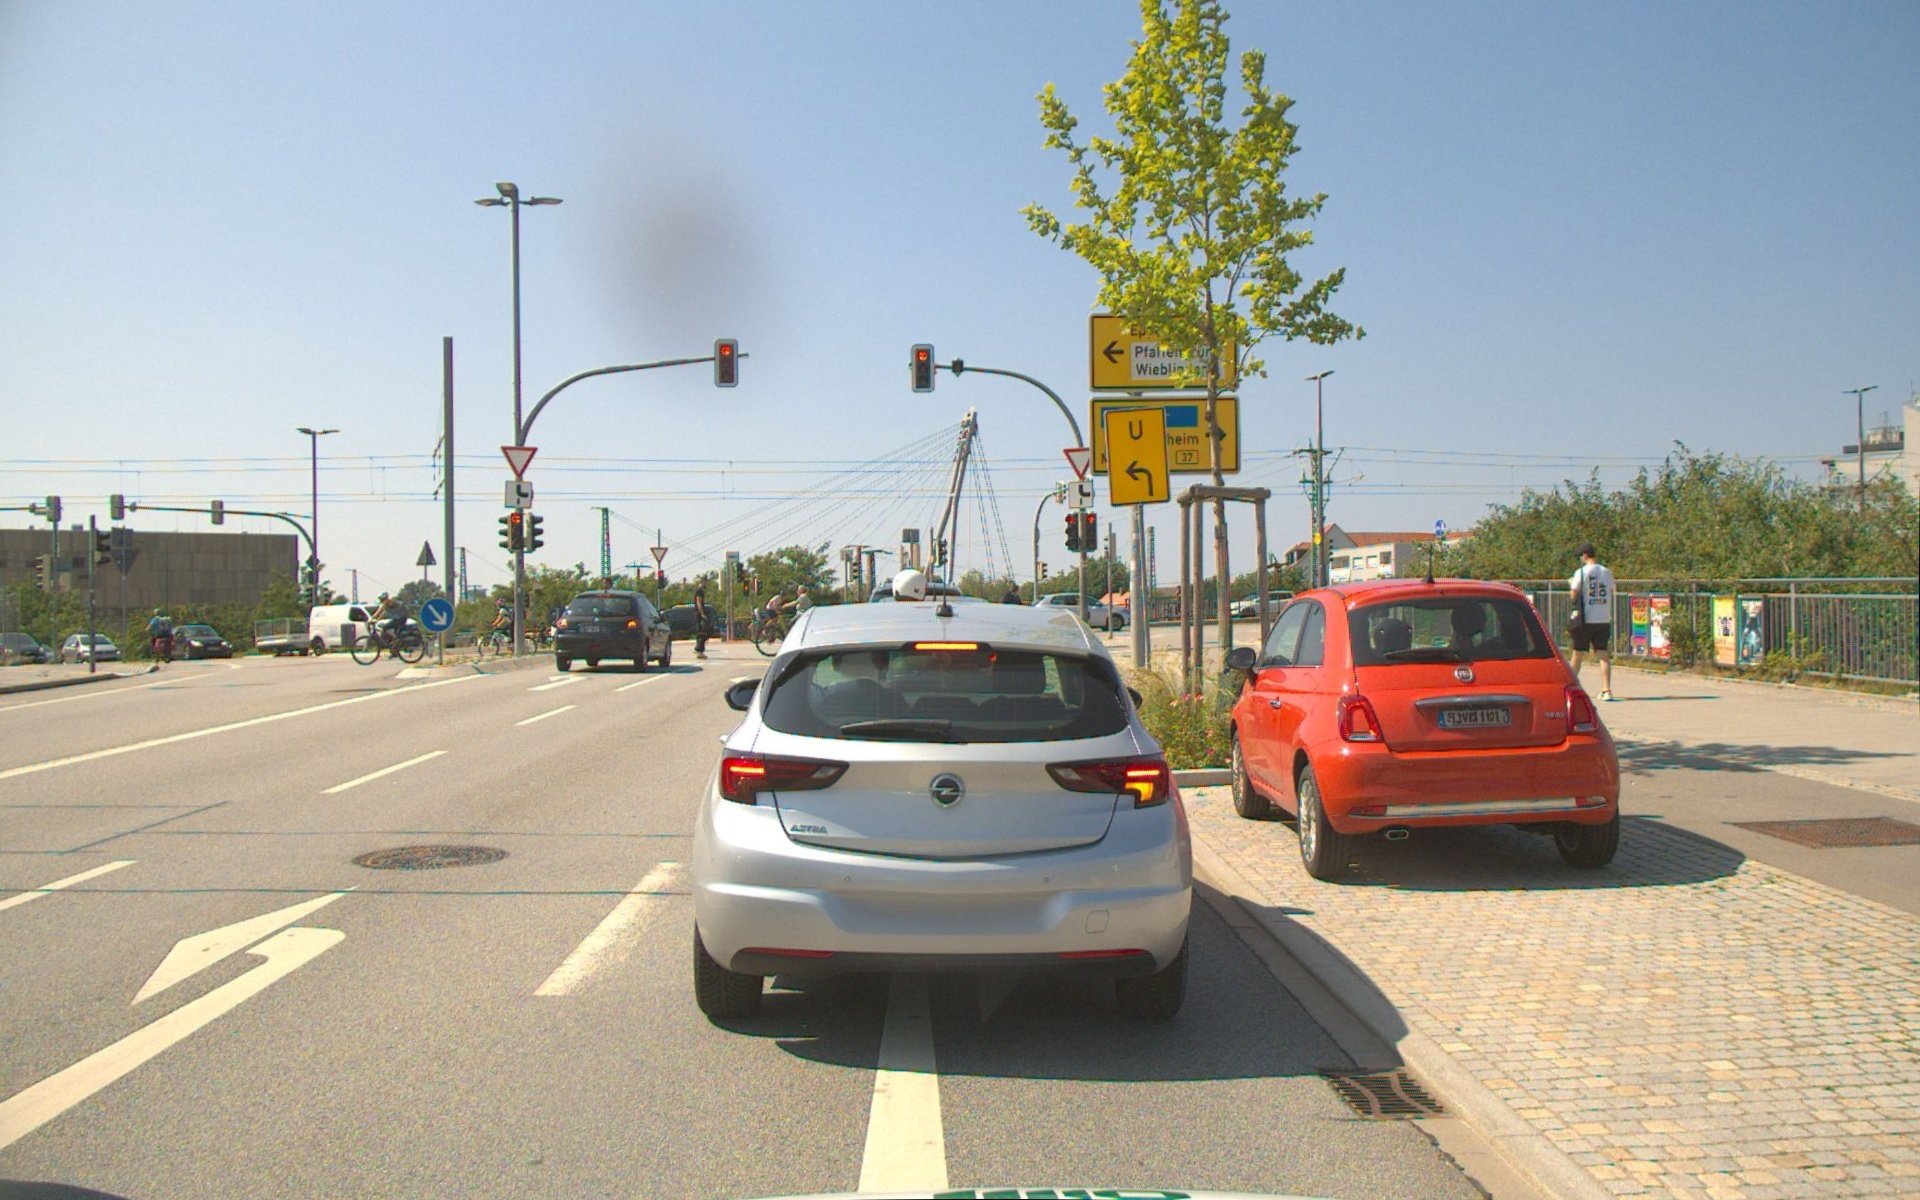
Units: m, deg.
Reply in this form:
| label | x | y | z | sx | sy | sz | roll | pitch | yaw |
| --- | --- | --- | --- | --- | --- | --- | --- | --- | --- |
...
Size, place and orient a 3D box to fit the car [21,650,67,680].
| label | x | y | z | sx | sy | sz | roll | pitch | yaw |
| --- | --- | --- | --- | --- | --- | --- | --- | --- | --- |
| car | -48.676 | 3.427 | 87.891 | 1.571 | 1.464 | 3.108 | 2 | -1 | -40 |

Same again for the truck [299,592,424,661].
| label | x | y | z | sx | sy | sz | roll | pitch | yaw |
| --- | --- | --- | --- | --- | --- | --- | --- | --- | --- |
| truck | -23.100 | 0.993 | 63.775 | 4.605 | 2.585 | 1.997 | 0 | -1 | 29 |

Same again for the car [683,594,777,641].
| label | x | y | z | sx | sy | sz | roll | pitch | yaw |
| --- | --- | --- | --- | --- | --- | --- | --- | --- | --- |
| car | -10.633 | 0.824 | 76.637 | 3.902 | 2.049 | 2.001 | 1 | -1 | 8 |

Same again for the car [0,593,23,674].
| label | x | y | z | sx | sy | sz | roll | pitch | yaw |
| --- | --- | --- | --- | --- | --- | --- | --- | --- | --- |
| car | -25.641 | 0.849 | 43.452 | 1.653 | 2.049 | 3.958 | 2 | -1 | -31 |

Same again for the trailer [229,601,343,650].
| label | x | y | z | sx | sy | sz | roll | pitch | yaw |
| --- | --- | --- | --- | --- | --- | --- | --- | --- | --- |
| trailer | -26.851 | 1.009 | 65.837 | 4.191 | 1.807 | 1.997 | 1 | -1 | 29 |

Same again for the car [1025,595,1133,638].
| label | x | y | z | sx | sy | sz | roll | pitch | yaw |
| --- | --- | --- | --- | --- | --- | --- | --- | --- | --- |
| car | 4.529 | 0.639 | 63.164 | 3.898 | 1.578 | 1.673 | -1 | -1 | -7 |

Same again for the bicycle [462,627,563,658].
| label | x | y | z | sx | sy | sz | roll | pitch | yaw |
| --- | --- | --- | --- | --- | --- | --- | --- | --- | --- |
| bicycle | -10.439 | 0.990 | 38.634 | 2.200 | 0.704 | 0.516 | 0 | -1 | -1 |

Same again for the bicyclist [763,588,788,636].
| label | x | y | z | sx | sy | sz | roll | pitch | yaw |
| --- | --- | --- | --- | --- | --- | --- | --- | --- | --- |
| bicyclist | -6.382 | 0.421 | 57.205 | 0.756 | 1.638 | 0.949 | 1 | -1 | -1 |

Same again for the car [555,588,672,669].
| label | x | y | z | sx | sy | sz | roll | pitch | yaw |
| --- | --- | --- | --- | --- | --- | --- | --- | --- | --- |
| car | -6.394 | 0.521 | 30.817 | 1.555 | 1.419 | 3.338 | 0 | -1 | -2 |

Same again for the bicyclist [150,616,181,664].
| label | x | y | z | sx | sy | sz | roll | pitch | yaw |
| --- | --- | --- | --- | --- | --- | --- | --- | --- | --- |
| bicyclist | -25.177 | 1.267 | 52.412 | 0.812 | 1.530 | 0.714 | 1 | -1 | -28 |

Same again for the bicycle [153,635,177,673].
| label | x | y | z | sx | sy | sz | roll | pitch | yaw |
| --- | --- | --- | --- | --- | --- | --- | --- | --- | --- |
| bicycle | -25.259 | 1.693 | 52.546 | 0.627 | 1.153 | 2.305 | 1 | -1 | -27 |

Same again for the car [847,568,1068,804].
| label | x | y | z | sx | sy | sz | roll | pitch | yaw |
| --- | --- | --- | --- | --- | --- | --- | --- | --- | --- |
| car | -0.064 | 0.663 | 14.137 | 1.602 | 1.703 | 3.743 | 2 | -1 | -2 |

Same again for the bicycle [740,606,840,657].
| label | x | y | z | sx | sy | sz | roll | pitch | yaw |
| --- | --- | --- | --- | --- | --- | --- | --- | --- | --- |
| bicycle | -4.002 | 0.743 | 39.128 | 2.311 | 1.147 | 0.677 | 1 | -1 | -4 |

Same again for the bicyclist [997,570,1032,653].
| label | x | y | z | sx | sy | sz | roll | pitch | yaw |
| --- | --- | --- | --- | --- | --- | --- | --- | --- | --- |
| bicyclist | 1.273 | 0.277 | 38.640 | 0.585 | 1.920 | 0.633 | 2 | -1 | -20 |

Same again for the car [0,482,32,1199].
| label | x | y | z | sx | sy | sz | roll | pitch | yaw |
| --- | --- | --- | --- | --- | --- | --- | --- | --- | --- |
| car | -3.037 | 0.530 | 1.918 | 1.767 | 1.650 | 3.915 | 0 | -1 | -1 |

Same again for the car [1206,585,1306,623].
| label | x | y | z | sx | sy | sz | roll | pitch | yaw |
| --- | --- | --- | --- | --- | --- | --- | --- | --- | --- |
| car | 13.834 | 0.204 | 77.368 | 4.180 | 1.703 | 1.990 | 1 | -1 | -18 |

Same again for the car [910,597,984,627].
| label | x | y | z | sx | sy | sz | roll | pitch | yaw |
| --- | --- | --- | --- | --- | --- | --- | --- | --- | --- |
| car | -0.591 | 0.554 | 76.050 | 3.156 | 1.327 | 1.519 | 1 | -1 | -13 |

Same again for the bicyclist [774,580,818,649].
| label | x | y | z | sx | sy | sz | roll | pitch | yaw |
| --- | --- | --- | --- | --- | --- | --- | --- | --- | --- |
| bicyclist | -3.880 | 0.335 | 39.140 | 0.926 | 1.596 | 0.822 | 1 | -1 | -1 |

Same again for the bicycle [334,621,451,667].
| label | x | y | z | sx | sy | sz | roll | pitch | yaw |
| --- | --- | --- | --- | --- | --- | --- | --- | --- | --- |
| bicycle | -12.973 | 1.007 | 37.872 | 2.453 | 1.025 | 0.605 | 0 | -1 | -1 |

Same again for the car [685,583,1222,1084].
| label | x | y | z | sx | sy | sz | roll | pitch | yaw |
| --- | --- | --- | --- | --- | --- | --- | --- | --- | --- |
| car | -0.066 | 0.731 | 7.272 | 1.656 | 1.546 | 4.269 | 0 | 0 | -1 |

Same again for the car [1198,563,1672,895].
| label | x | y | z | sx | sy | sz | roll | pitch | yaw |
| --- | --- | --- | --- | --- | --- | --- | --- | --- | --- |
| car | 2.615 | 0.585 | 10.057 | 1.636 | 1.566 | 3.916 | -2 | 1 | -2 |

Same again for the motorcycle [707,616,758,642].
| label | x | y | z | sx | sy | sz | roll | pitch | yaw |
| --- | --- | --- | --- | --- | --- | --- | --- | --- | --- |
| motorcycle | -11.517 | 1.455 | 83.676 | 2.485 | 1.255 | 0.648 | 1 | -1 | -2 |

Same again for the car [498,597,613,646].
| label | x | y | z | sx | sy | sz | roll | pitch | yaw |
| --- | --- | --- | --- | --- | --- | --- | --- | --- | --- |
| car | -15.824 | 0.828 | 64.805 | 3.949 | 1.846 | 1.932 | 1 | -1 | 20 |

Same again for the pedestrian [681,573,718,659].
| label | x | y | z | sx | sy | sz | roll | pitch | yaw |
| --- | --- | --- | --- | --- | --- | --- | --- | --- | --- |
| pedestrian | -5.862 | 0.358 | 37.212 | 0.727 | 1.896 | 0.751 | 1 | -1 | -14 |

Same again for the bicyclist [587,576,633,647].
| label | x | y | z | sx | sy | sz | roll | pitch | yaw |
| --- | --- | --- | --- | --- | --- | --- | --- | --- | --- |
| bicyclist | -8.009 | 0.268 | 37.920 | 0.805 | 1.587 | 0.863 | 1 | -1 | 2 |

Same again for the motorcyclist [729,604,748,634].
| label | x | y | z | sx | sy | sz | roll | pitch | yaw |
| --- | --- | --- | --- | --- | --- | --- | --- | --- | --- |
| motorcyclist | -11.198 | 0.961 | 83.676 | 0.792 | 1.502 | 0.885 | 1 | -1 | -1 |

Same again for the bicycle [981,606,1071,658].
| label | x | y | z | sx | sy | sz | roll | pitch | yaw |
| --- | --- | --- | --- | --- | --- | --- | --- | --- | --- |
| bicycle | 1.553 | 0.745 | 38.740 | 2.051 | 1.198 | 0.552 | 0 | 0 | -21 |

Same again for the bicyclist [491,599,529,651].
| label | x | y | z | sx | sy | sz | roll | pitch | yaw |
| --- | --- | --- | --- | --- | --- | --- | --- | --- | --- |
| bicyclist | -10.509 | 0.579 | 38.632 | 0.643 | 1.196 | 0.731 | 1 | -1 | 0 |

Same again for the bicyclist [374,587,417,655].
| label | x | y | z | sx | sy | sz | roll | pitch | yaw |
| --- | --- | --- | --- | --- | --- | --- | --- | --- | --- |
| bicyclist | -12.930 | 0.479 | 37.886 | 0.643 | 1.528 | 0.843 | 1 | -1 | 0 |

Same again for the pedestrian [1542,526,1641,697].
| label | x | y | z | sx | sy | sz | roll | pitch | yaw |
| --- | --- | --- | --- | --- | --- | --- | --- | --- | --- |
| pedestrian | 7.092 | 0.131 | 18.609 | 0.743 | 1.862 | 0.884 | 1 | -1 | -1 |

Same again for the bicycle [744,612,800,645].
| label | x | y | z | sx | sy | sz | roll | pitch | yaw |
| --- | --- | --- | --- | --- | --- | --- | --- | --- | --- |
| bicycle | -6.495 | 0.979 | 57.198 | 1.828 | 1.087 | 0.578 | 1 | -1 | 1 |

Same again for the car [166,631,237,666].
| label | x | y | z | sx | sy | sz | roll | pitch | yaw |
| --- | --- | --- | --- | --- | --- | --- | --- | --- | --- |
| car | -32.524 | 2.070 | 70.844 | 1.653 | 1.414 | 3.727 | 2 | -1 | -43 |
